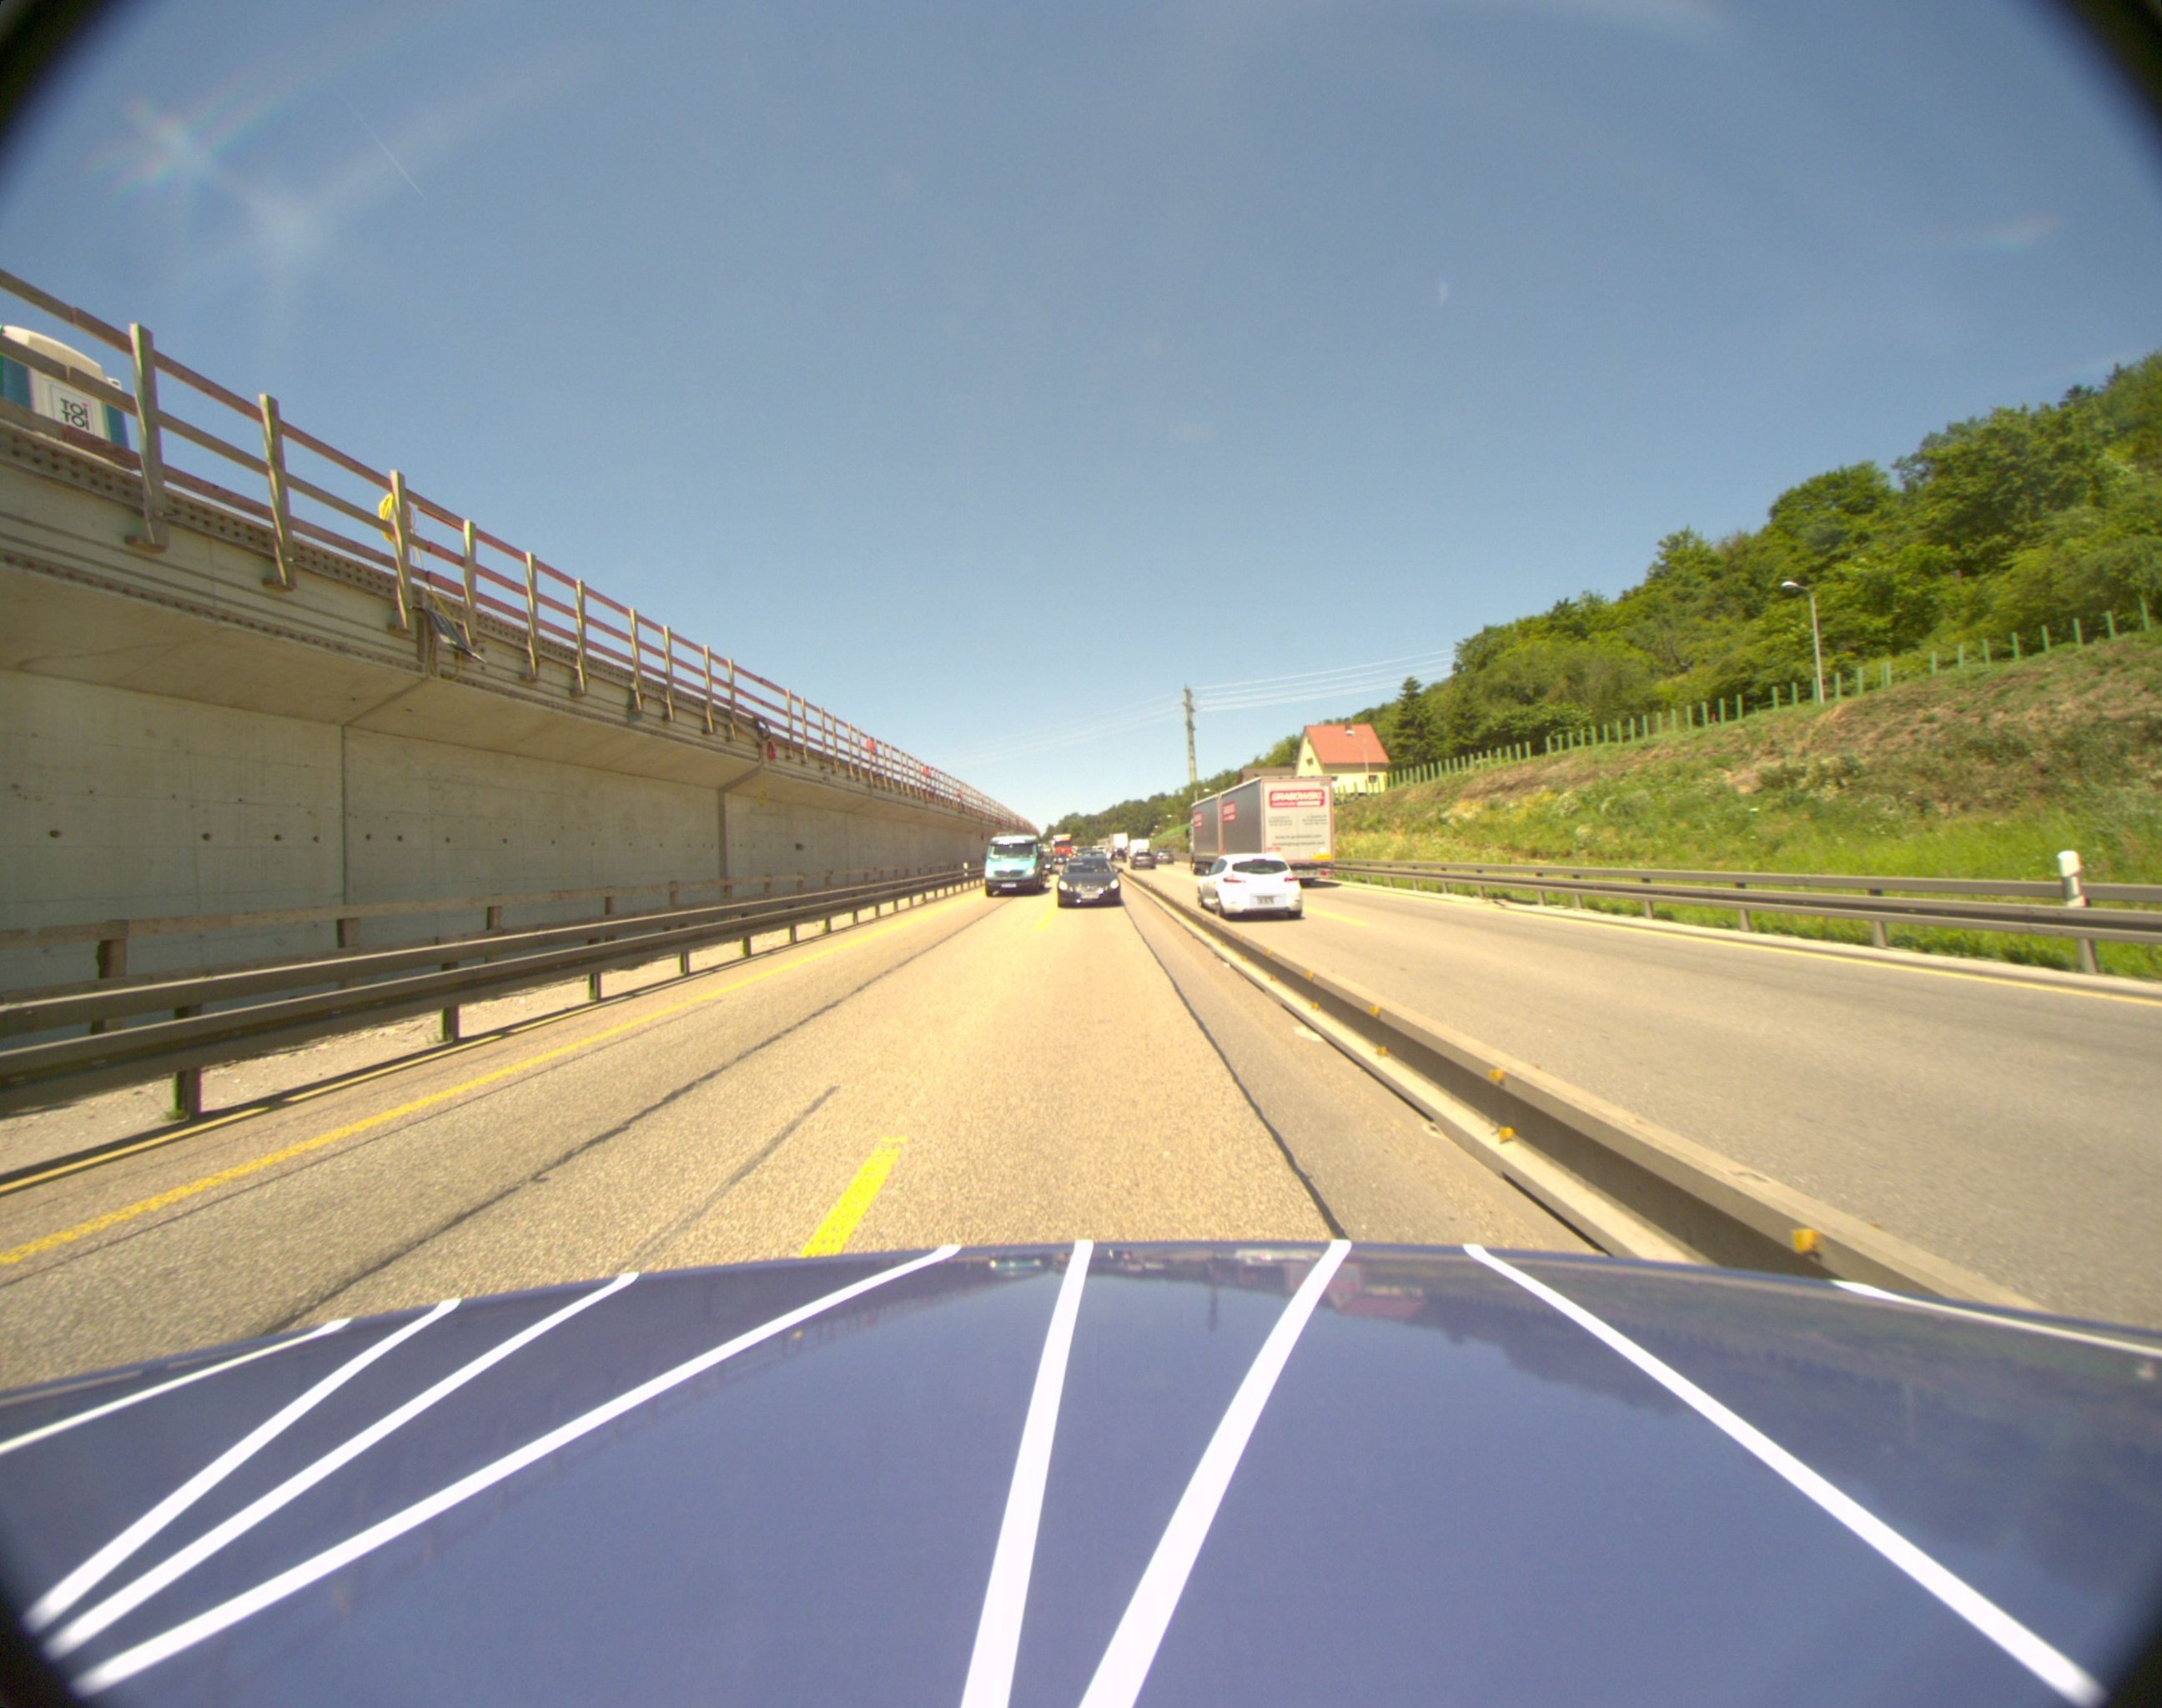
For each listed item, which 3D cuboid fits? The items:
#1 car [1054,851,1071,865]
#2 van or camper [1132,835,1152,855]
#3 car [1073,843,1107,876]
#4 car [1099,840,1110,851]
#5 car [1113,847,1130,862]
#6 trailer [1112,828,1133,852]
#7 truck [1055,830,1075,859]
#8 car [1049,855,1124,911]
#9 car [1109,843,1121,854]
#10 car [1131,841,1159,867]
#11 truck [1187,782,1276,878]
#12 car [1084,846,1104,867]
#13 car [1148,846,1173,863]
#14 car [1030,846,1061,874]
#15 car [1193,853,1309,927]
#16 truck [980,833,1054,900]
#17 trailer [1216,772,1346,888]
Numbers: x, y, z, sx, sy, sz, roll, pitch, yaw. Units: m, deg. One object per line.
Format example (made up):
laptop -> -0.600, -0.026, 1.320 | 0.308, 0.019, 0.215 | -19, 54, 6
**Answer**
car -> -2.255, 0.434, 94.301 | 1.883, 1.532, 4.281 | -2, 1, 0
van or camper -> 8.449, -1.263, 106.054 | 2.356, 2.619, 6.901 | -2, 1, 1
car -> 0.600, 0.305, 46.424 | 1.884, 1.805, 4.250 | -2, 1, 3
car -> 4.414, -1.631, 145.715 | 1.998, 2.002, 4.165 | -2, 1, 1
car -> 4.805, 0.054, 91.361 | 1.875, 1.674, 4.000 | -1, 1, 1
trailer -> 7.984, -2.695, 147.366 | 3.111, 4.416, 14.626 | -2, 1, 0
truck -> -2.376, -1.501, 117.941 | 2.750, 4.222, 9.093 | -2, 1, 0
car -> 0.204, 0.801, 23.209 | 1.998, 1.441, 4.601 | -2, 1, 1
car -> 4.975, -0.796, 111.662 | 1.671, 1.442, 3.905 | -2, 1, 1
car -> 4.988, 0.017, 59.497 | 1.854, 1.879, 4.501 | -2, 0, 1
truck -> 7.705, -1.145, 40.422 | 2.627, 4.371, 10.384 | -2, 1, 1
car -> 1.372, 0.228, 83.394 | 1.998, 2.002, 3.999 | -3, 2, 1
car -> 7.774, 0.038, 74.872 | 1.998, 1.499, 5.300 | -2, 1, 1
car -> -2.508, 0.412, 54.338 | 1.885, 1.805, 4.249 | -2, 1, 0
car -> 3.827, 0.749, 17.793 | 1.807, 1.455, 4.000 | -2, 0, 1
truck -> -2.457, 0.363, 31.143 | 2.139, 2.344, 7.432 | -2, 1, 1
trailer -> 7.755, -0.878, 30.877 | 2.936, 3.966, 8.705 | -2, 1, 1
